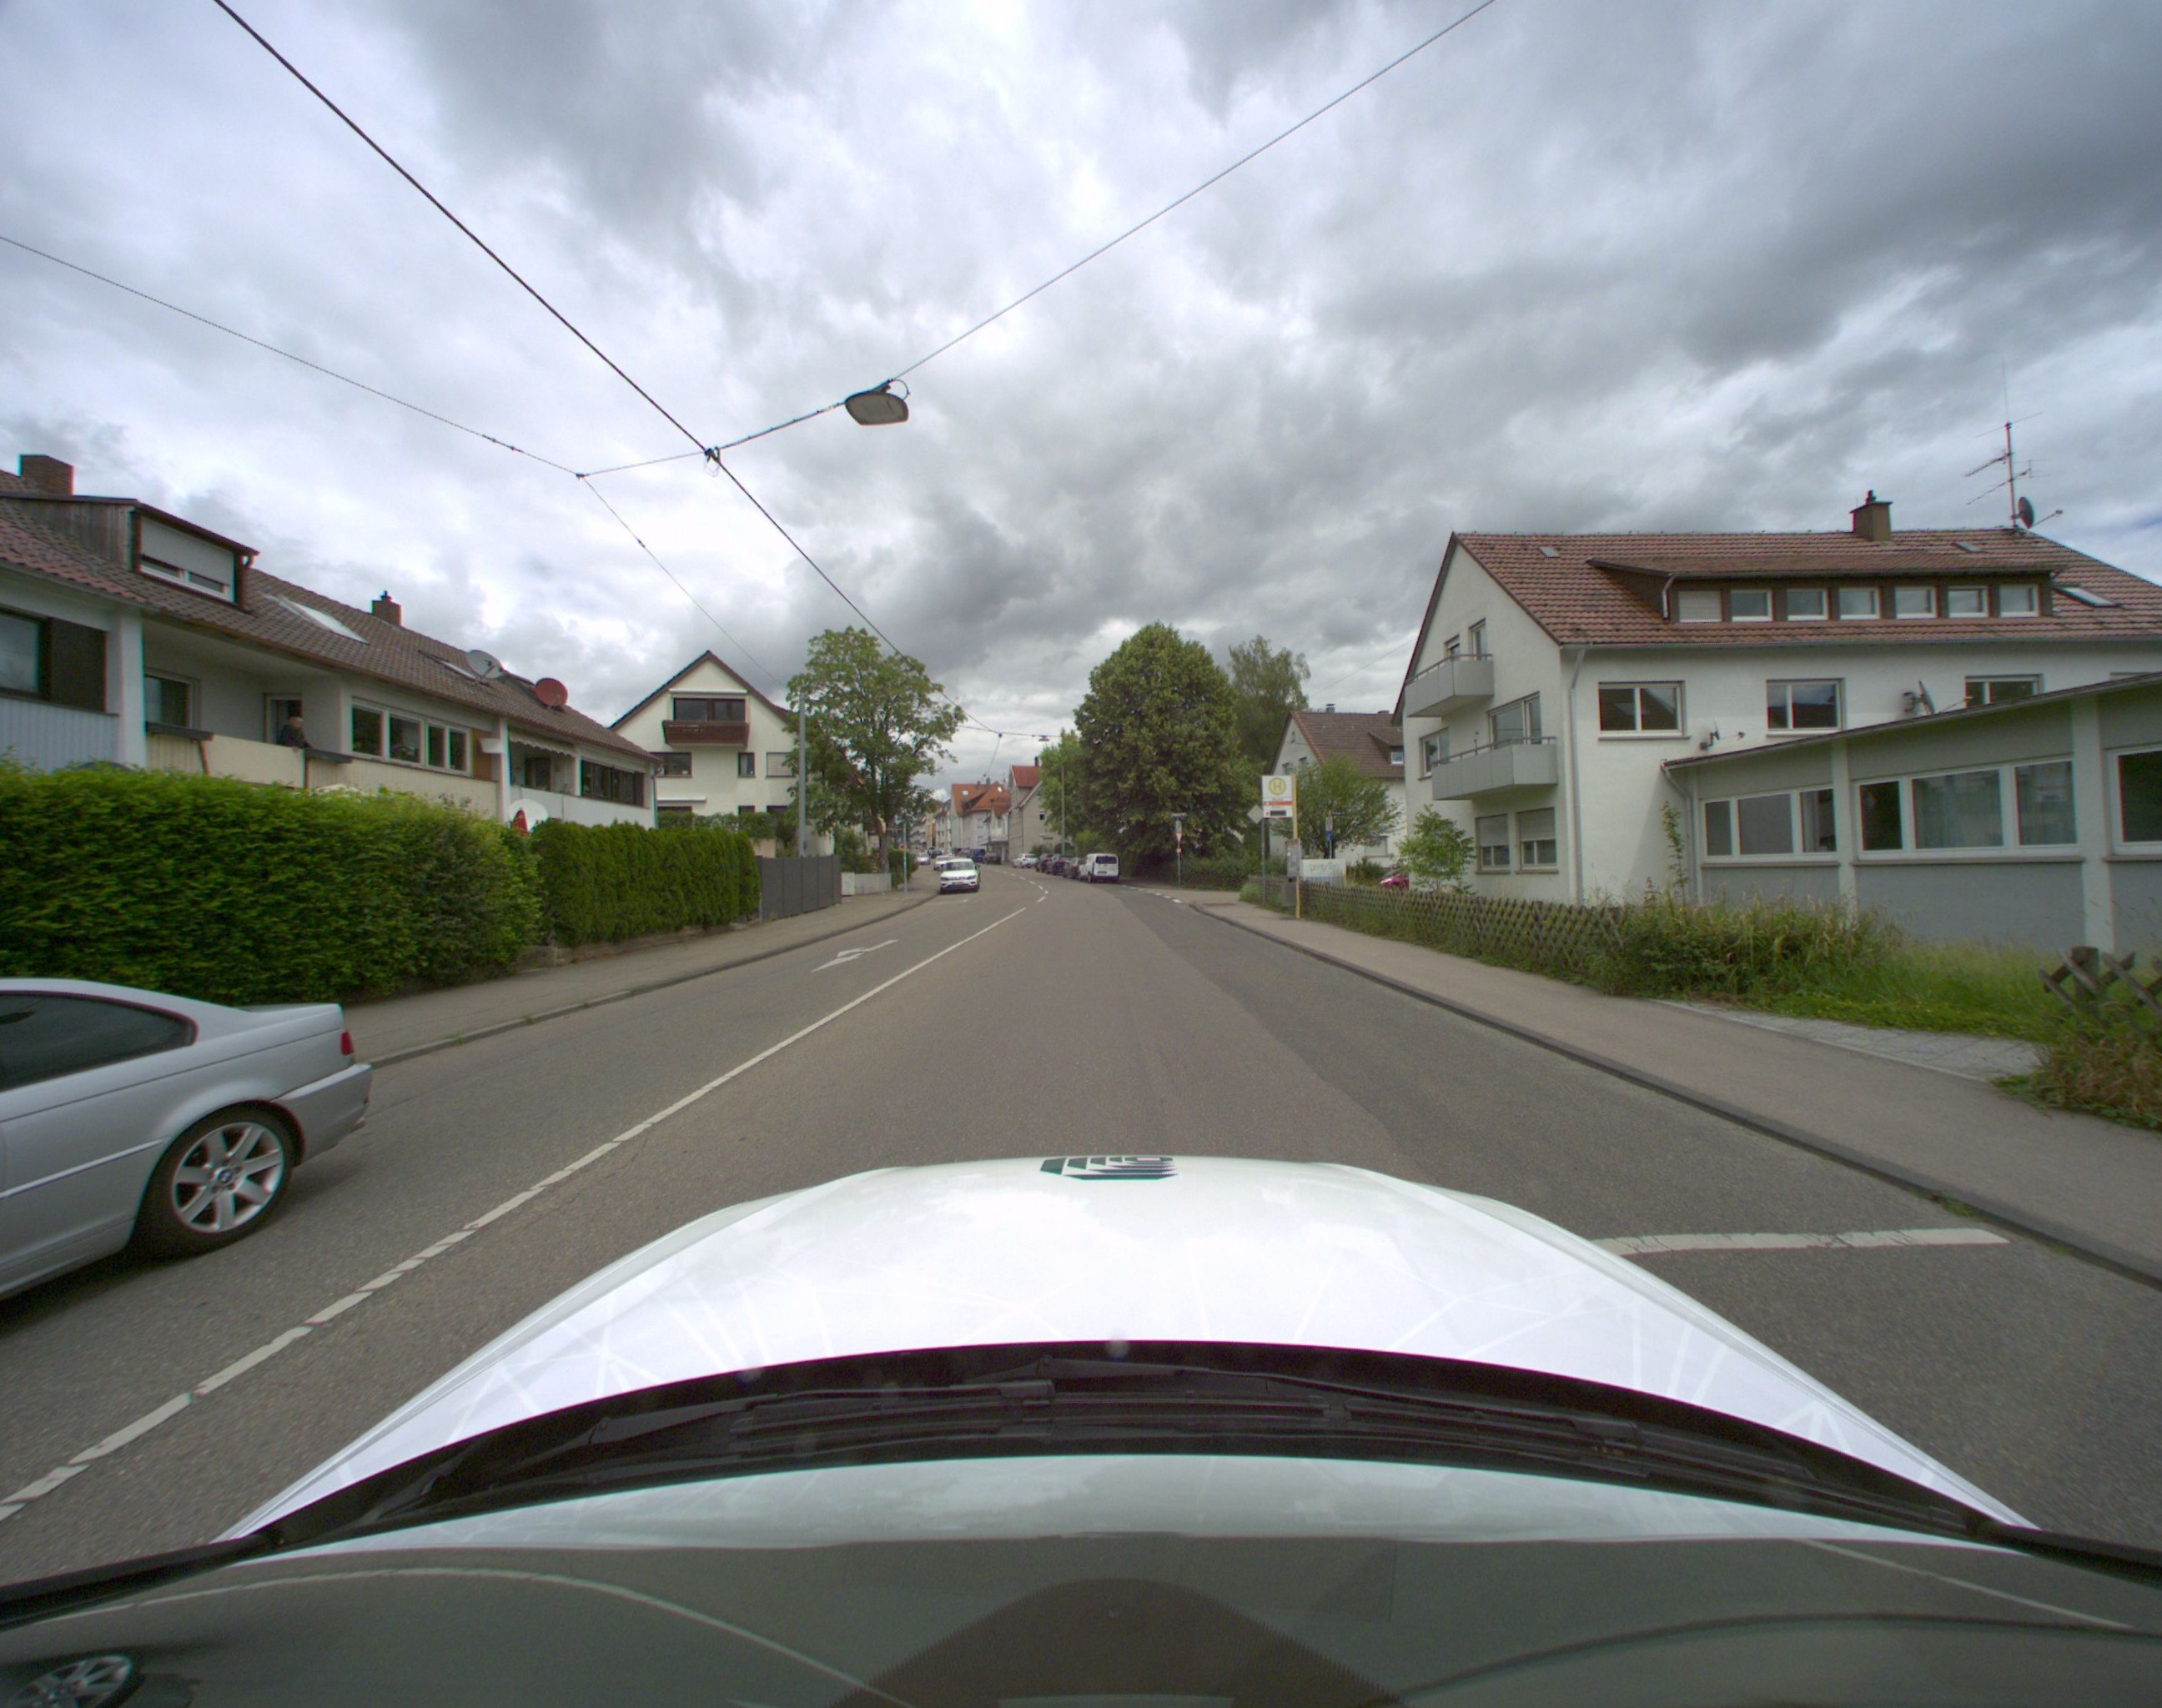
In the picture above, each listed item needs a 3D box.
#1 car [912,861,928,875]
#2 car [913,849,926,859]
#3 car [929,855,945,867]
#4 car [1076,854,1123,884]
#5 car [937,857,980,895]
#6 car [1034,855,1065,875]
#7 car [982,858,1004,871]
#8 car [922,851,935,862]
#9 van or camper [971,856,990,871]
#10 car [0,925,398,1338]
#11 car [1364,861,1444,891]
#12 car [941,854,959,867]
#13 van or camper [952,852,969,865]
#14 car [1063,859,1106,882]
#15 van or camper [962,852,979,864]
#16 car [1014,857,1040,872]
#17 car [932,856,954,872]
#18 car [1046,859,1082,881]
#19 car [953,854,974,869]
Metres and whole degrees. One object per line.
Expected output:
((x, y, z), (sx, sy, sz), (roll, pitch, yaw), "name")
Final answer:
((-20.741, 1.830, 105.147), (1.834, 1.578, 4.018), (-4, 1, -9), "car")
((-34.474, 0.053, 173.668), (2.158, 2.014, 3.976), (1, 0, -17), "car")
((-24.543, 1.114, 139.048), (2.158, 2.014, 3.976), (1, 0, -17), "car")
((1.096, 0.902, 50.622), (1.840, 1.774, 4.297), (1, 0, -13), "car")
((-6.151, 1.084, 41.282), (1.847, 1.714, 4.565), (-3, 0, -6), "car")
((-2.689, 0.889, 68.280), (1.812, 1.615, 4.520), (1, -1, -12), "car")
((-11.301, 1.312, 104.020), (1.998, 1.518, 4.864), (1, -1, -17), "car")
((-29.614, 0.493, 158.098), (2.158, 2.014, 3.976), (1, 0, -17), "car")
((-14.170, 1.306, 114.823), (1.931, 1.925, 4.802), (0, 0, -17), "van or camper")
((-4.768, 1.139, 2.531), (1.707, 1.354, 4.082), (-6, -1, 0), "car")
((17.211, 1.193, 43.460), (3.704, 1.564, 1.678), (1, -3, -16), "car")
((-19.794, 0.969, 123.169), (2.158, 2.014, 3.976), (1, 0, -17), "car")
((-19.816, 0.657, 133.666), (1.998, 2.066, 5.911), (2, 0, -16), "van or camper")
((0.160, 1.074, 55.804), (1.995, 1.478, 4.601), (-1, 0, -12), "car")
((-17.252, 0.579, 126.566), (1.875, 1.829, 4.653), (1, 0, -17), "van or camper")
((-5.361, 1.001, 80.103), (1.943, 1.439, 3.982), (0, 0, -13), "car")
((-13.780, 0.992, 81.180), (1.728, 1.458, 3.880), (-3, 0, -14), "car")
((-1.348, 1.194, 62.448), (1.995, 1.615, 4.520), (1, -1, -12), "car")
((-15.642, 0.983, 108.294), (2.158, 2.014, 3.976), (1, 0, -17), "car")
